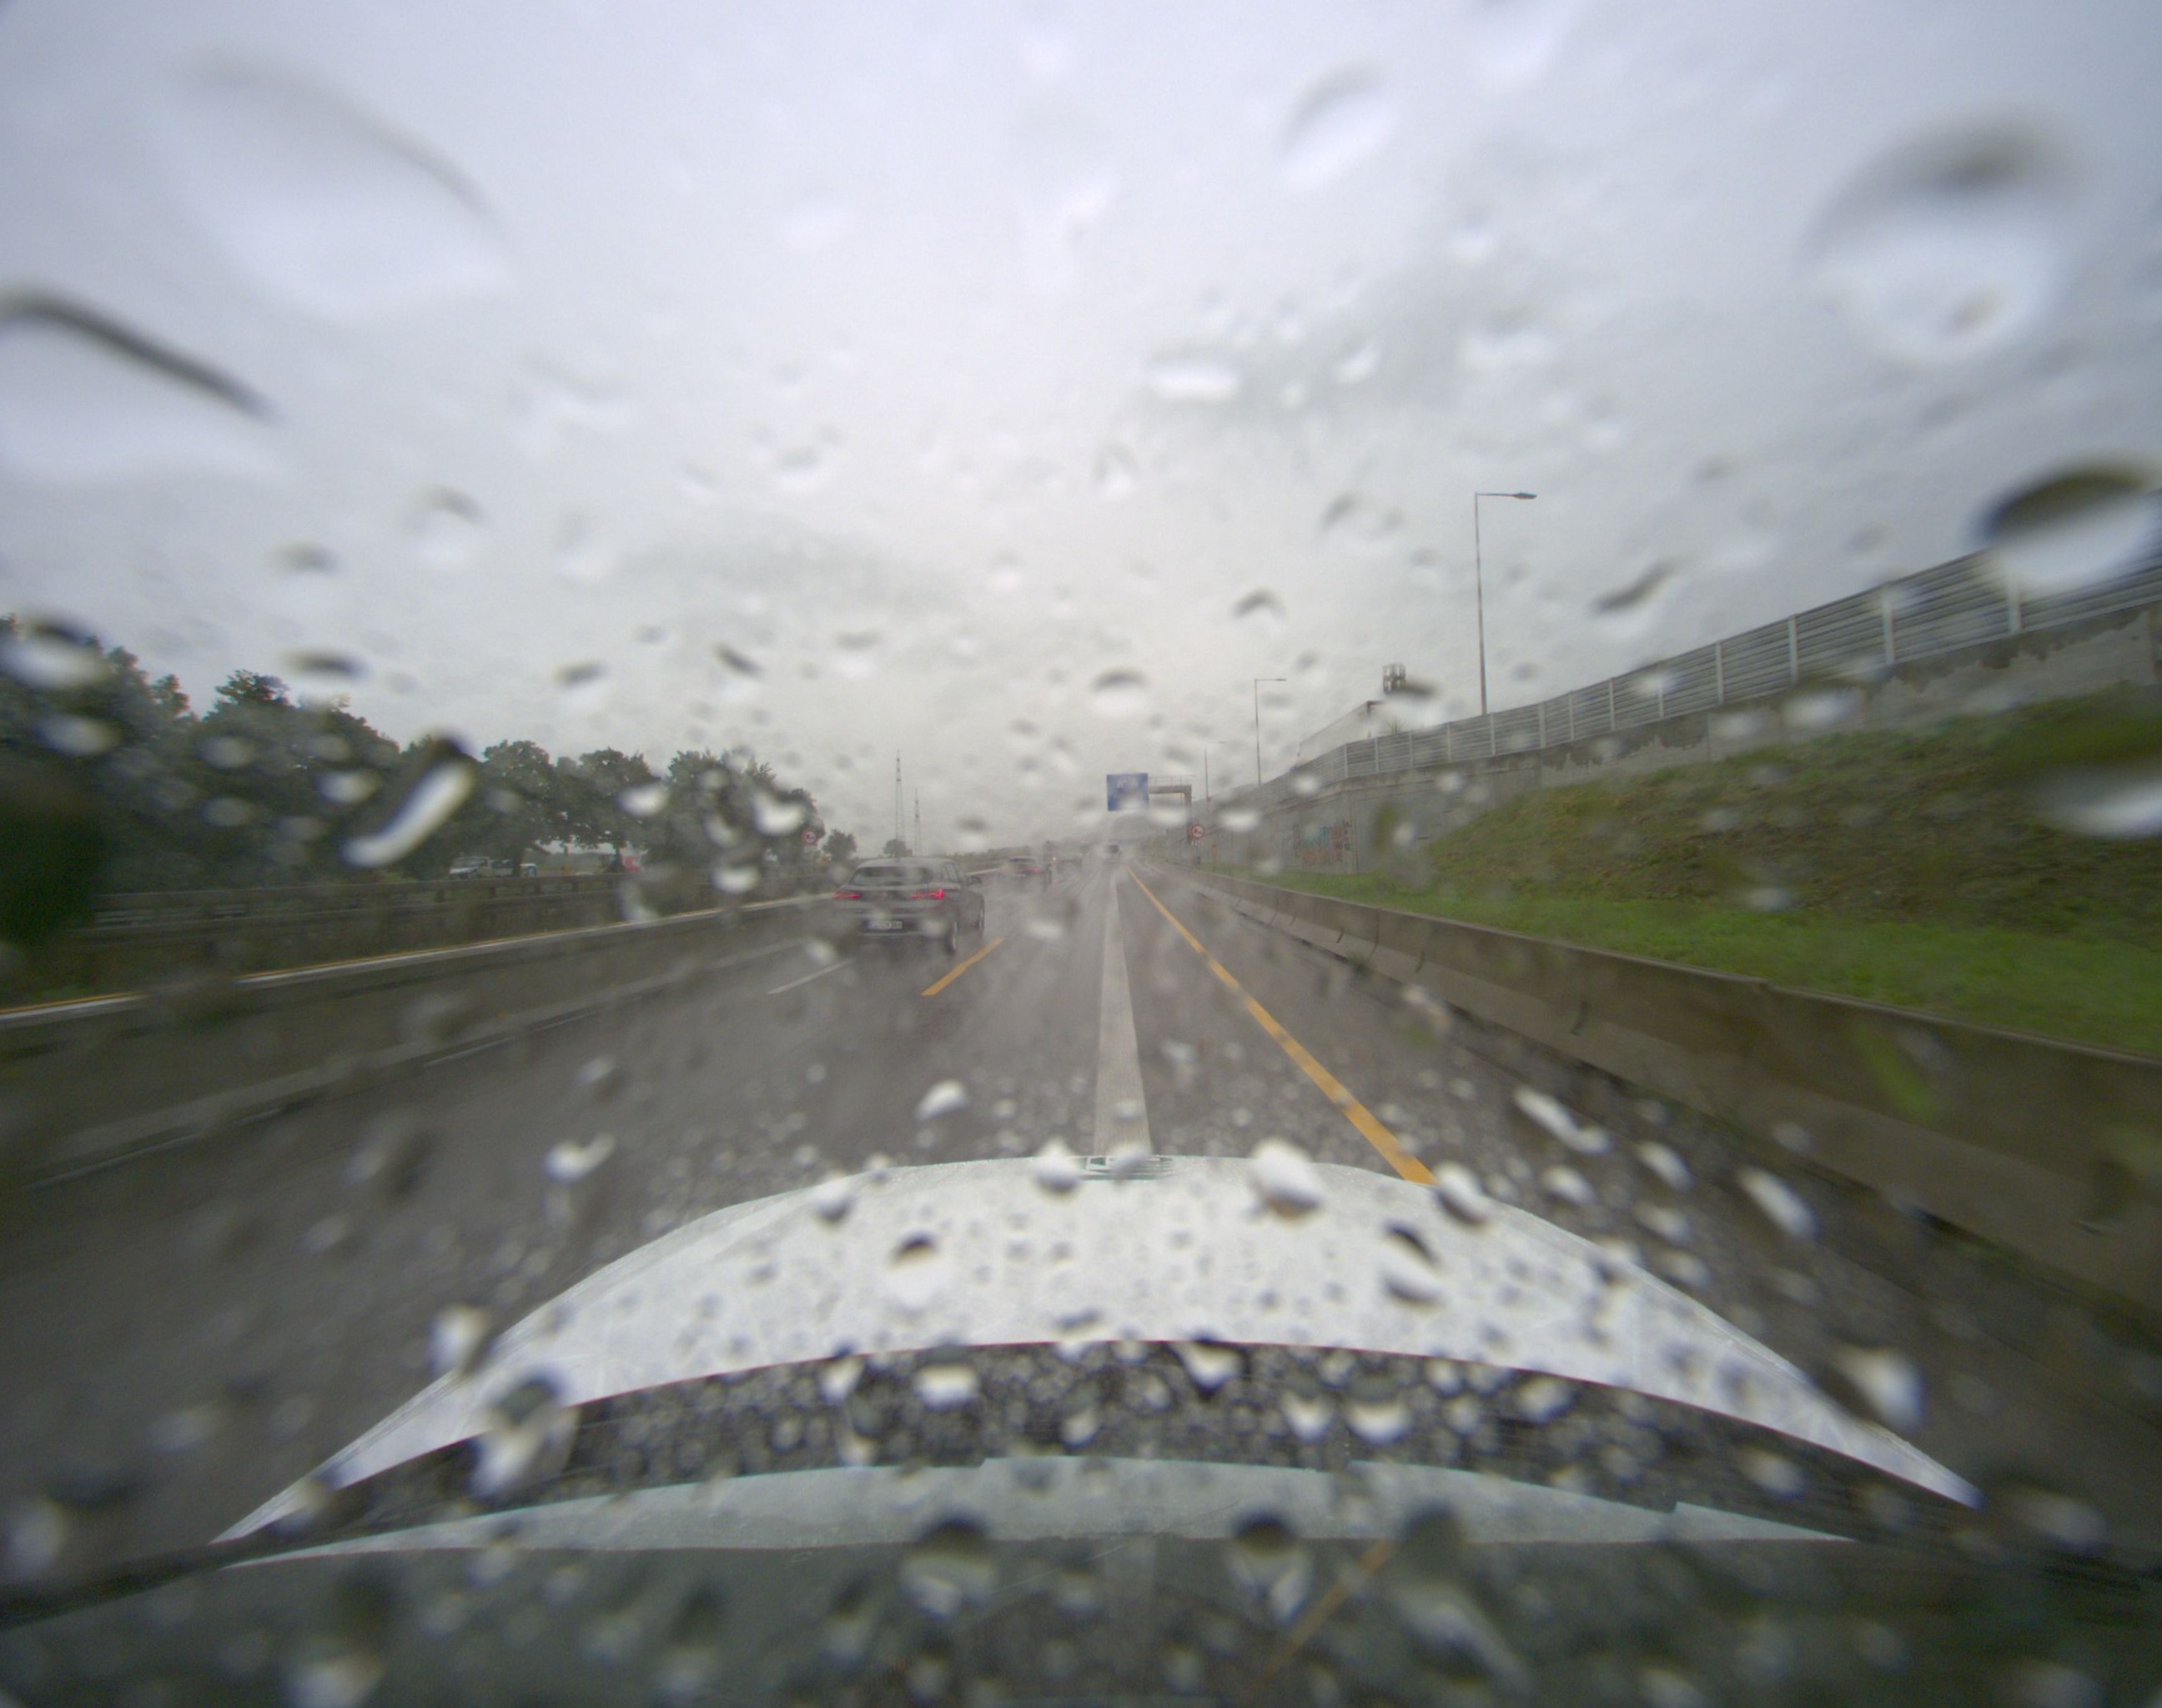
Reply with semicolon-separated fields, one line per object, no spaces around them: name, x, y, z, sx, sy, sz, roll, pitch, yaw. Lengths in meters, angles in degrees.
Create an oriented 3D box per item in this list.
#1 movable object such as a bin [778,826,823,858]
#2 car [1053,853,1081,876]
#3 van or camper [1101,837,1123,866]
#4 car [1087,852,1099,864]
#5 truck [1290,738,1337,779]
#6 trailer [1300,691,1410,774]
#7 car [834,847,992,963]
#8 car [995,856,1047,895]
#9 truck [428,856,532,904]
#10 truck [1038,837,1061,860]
movable object such as a bin;-37.615;-1.567;109.374;2.718;3.919;8.468;-1;-1;3
car;-0.988;0.715;59.061;1.839;1.491;4.260;-4;0;-1
van or camper;3.082;-0.192;81.691;1.990;2.777;4.048;-1;-1;-1
car;1.741;0.589;117.839;1.563;1.480;2.819;-4;-2;-3
truck;14.654;-5.992;51.625;1.985;2.014;4.061;-1;-1;3
trailer;14.299;-6.188;43.892;1.985;2.106;13.777;-1;-1;3
car;-2.621;0.760;13.820;1.696;1.598;4.843;-1;-1;-1
car;-2.430;0.861;33.797;1.839;1.491;4.259;-1;-1;-1
truck;-42.345;1.816;57.593;2.600;3.213;5.876;-1;-1;5
truck;-4.645;-0.830;122.354;2.628;3.347;9.560;-1;0;3
